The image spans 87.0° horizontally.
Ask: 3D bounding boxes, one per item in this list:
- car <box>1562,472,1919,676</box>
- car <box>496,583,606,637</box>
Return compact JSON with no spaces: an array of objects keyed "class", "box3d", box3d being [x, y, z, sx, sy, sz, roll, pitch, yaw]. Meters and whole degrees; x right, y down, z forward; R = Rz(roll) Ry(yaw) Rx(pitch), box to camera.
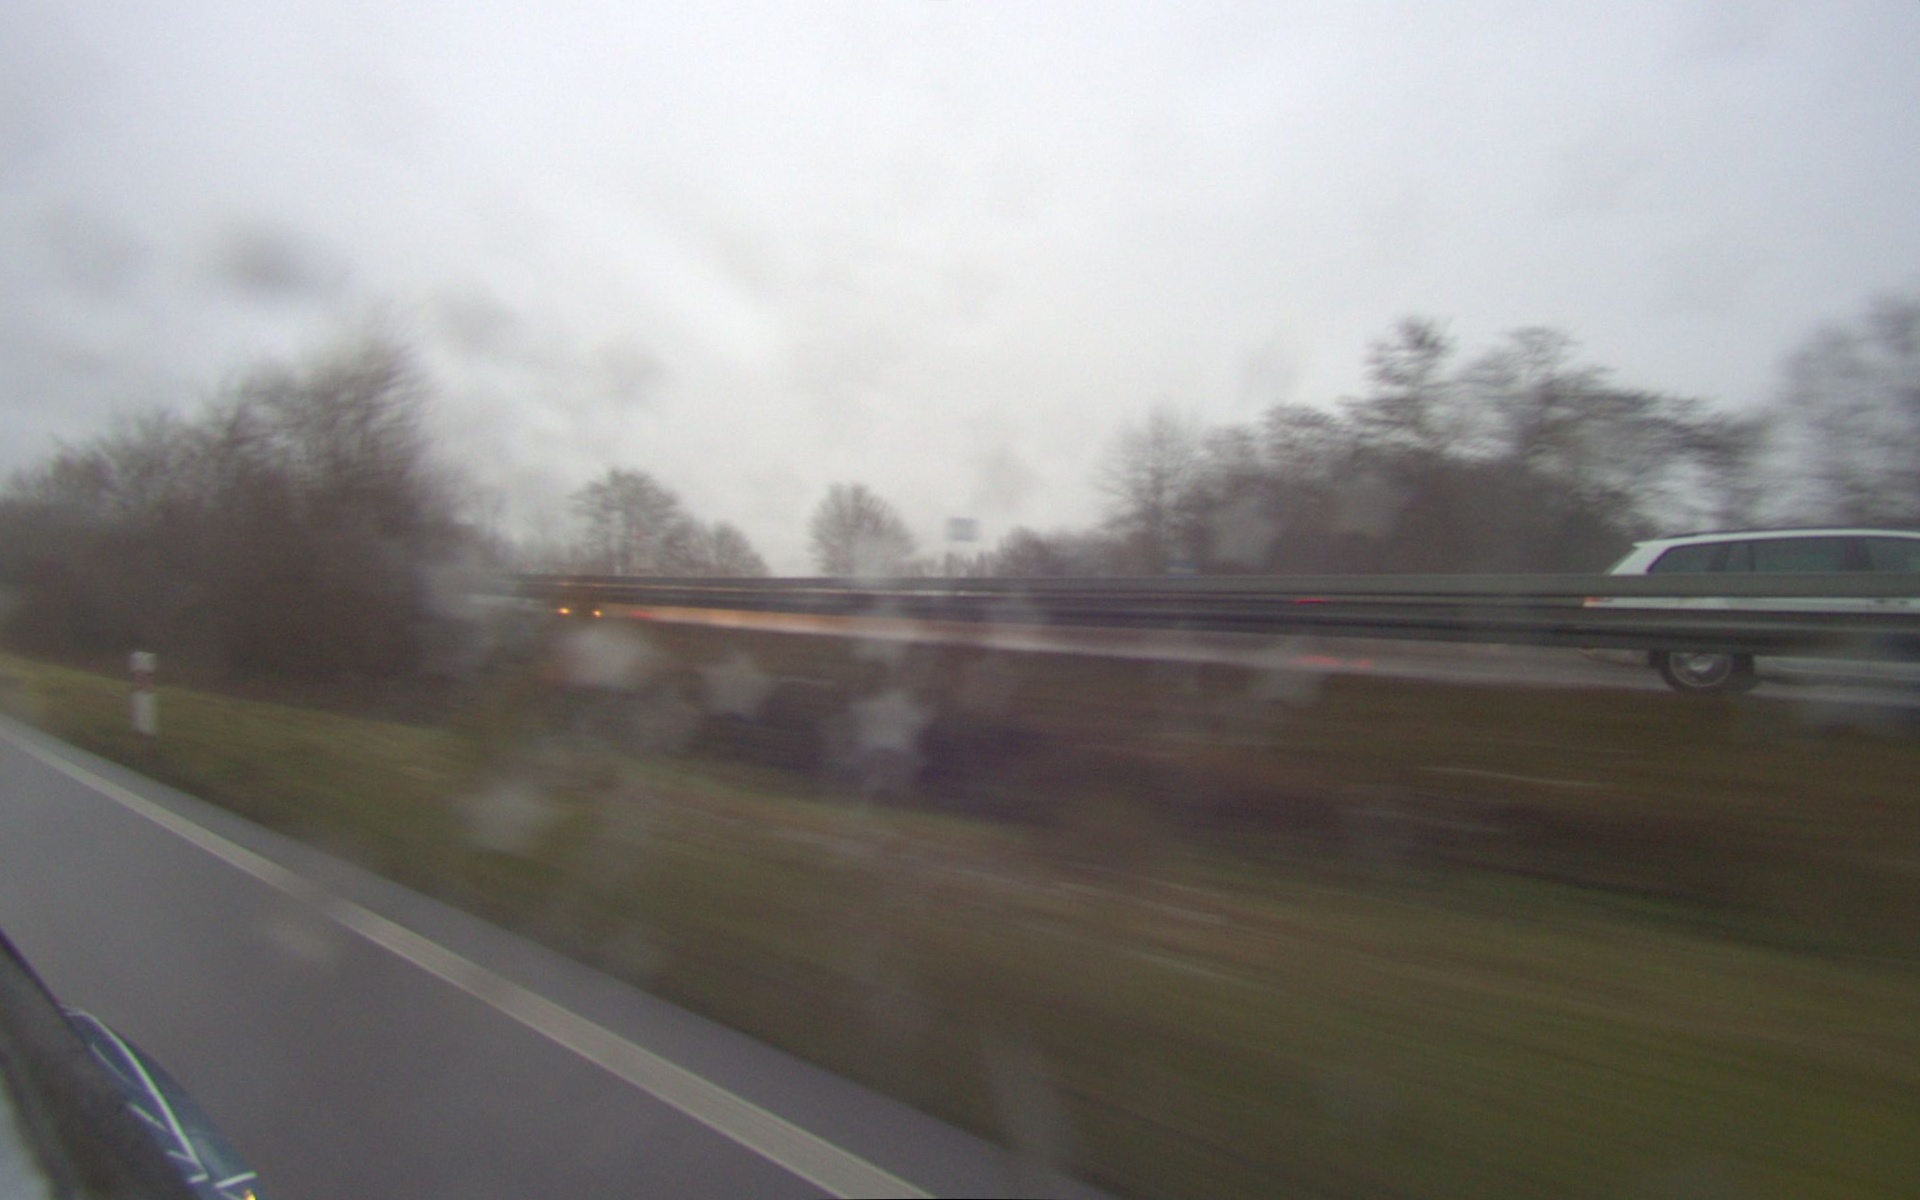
[{"class":"car","box3d":[7.881,-0.159,8.239,1.925,1.532,4.791,3,-3,-44]},{"class":"car","box3d":[-14.442,0.390,35.581,1.756,1.545,4.705,-8,3,-45]}]
